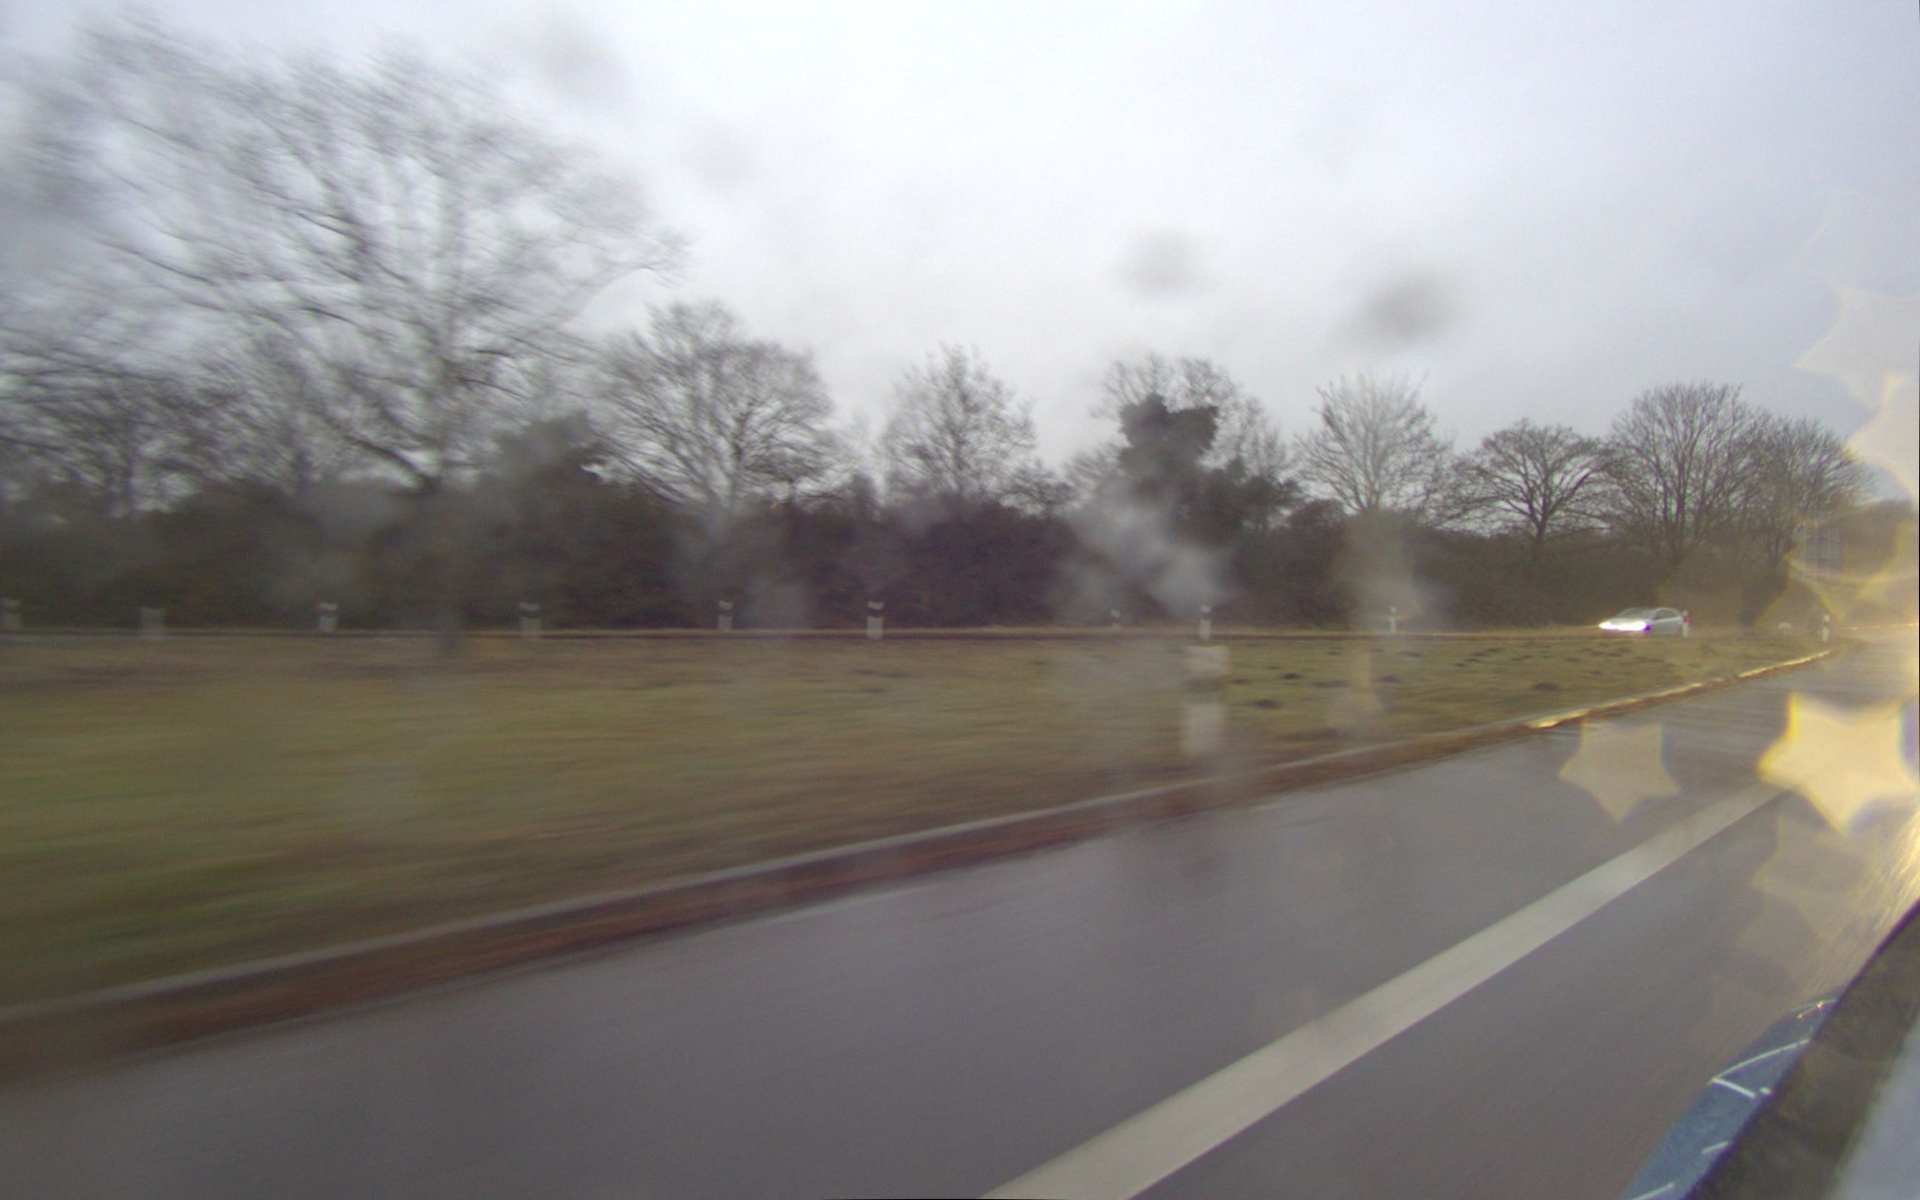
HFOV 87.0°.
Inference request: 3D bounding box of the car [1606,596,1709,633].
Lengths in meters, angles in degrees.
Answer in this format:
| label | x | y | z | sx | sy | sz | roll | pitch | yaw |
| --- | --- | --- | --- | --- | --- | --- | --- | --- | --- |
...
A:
| label | x | y | z | sx | sy | sz | roll | pitch | yaw |
| --- | --- | --- | --- | --- | --- | --- | --- | --- | --- |
| car | 29.518 | 0.585 | 42.854 | 3.711 | 1.452 | 1.733 | 0 | 1 | -20 |
